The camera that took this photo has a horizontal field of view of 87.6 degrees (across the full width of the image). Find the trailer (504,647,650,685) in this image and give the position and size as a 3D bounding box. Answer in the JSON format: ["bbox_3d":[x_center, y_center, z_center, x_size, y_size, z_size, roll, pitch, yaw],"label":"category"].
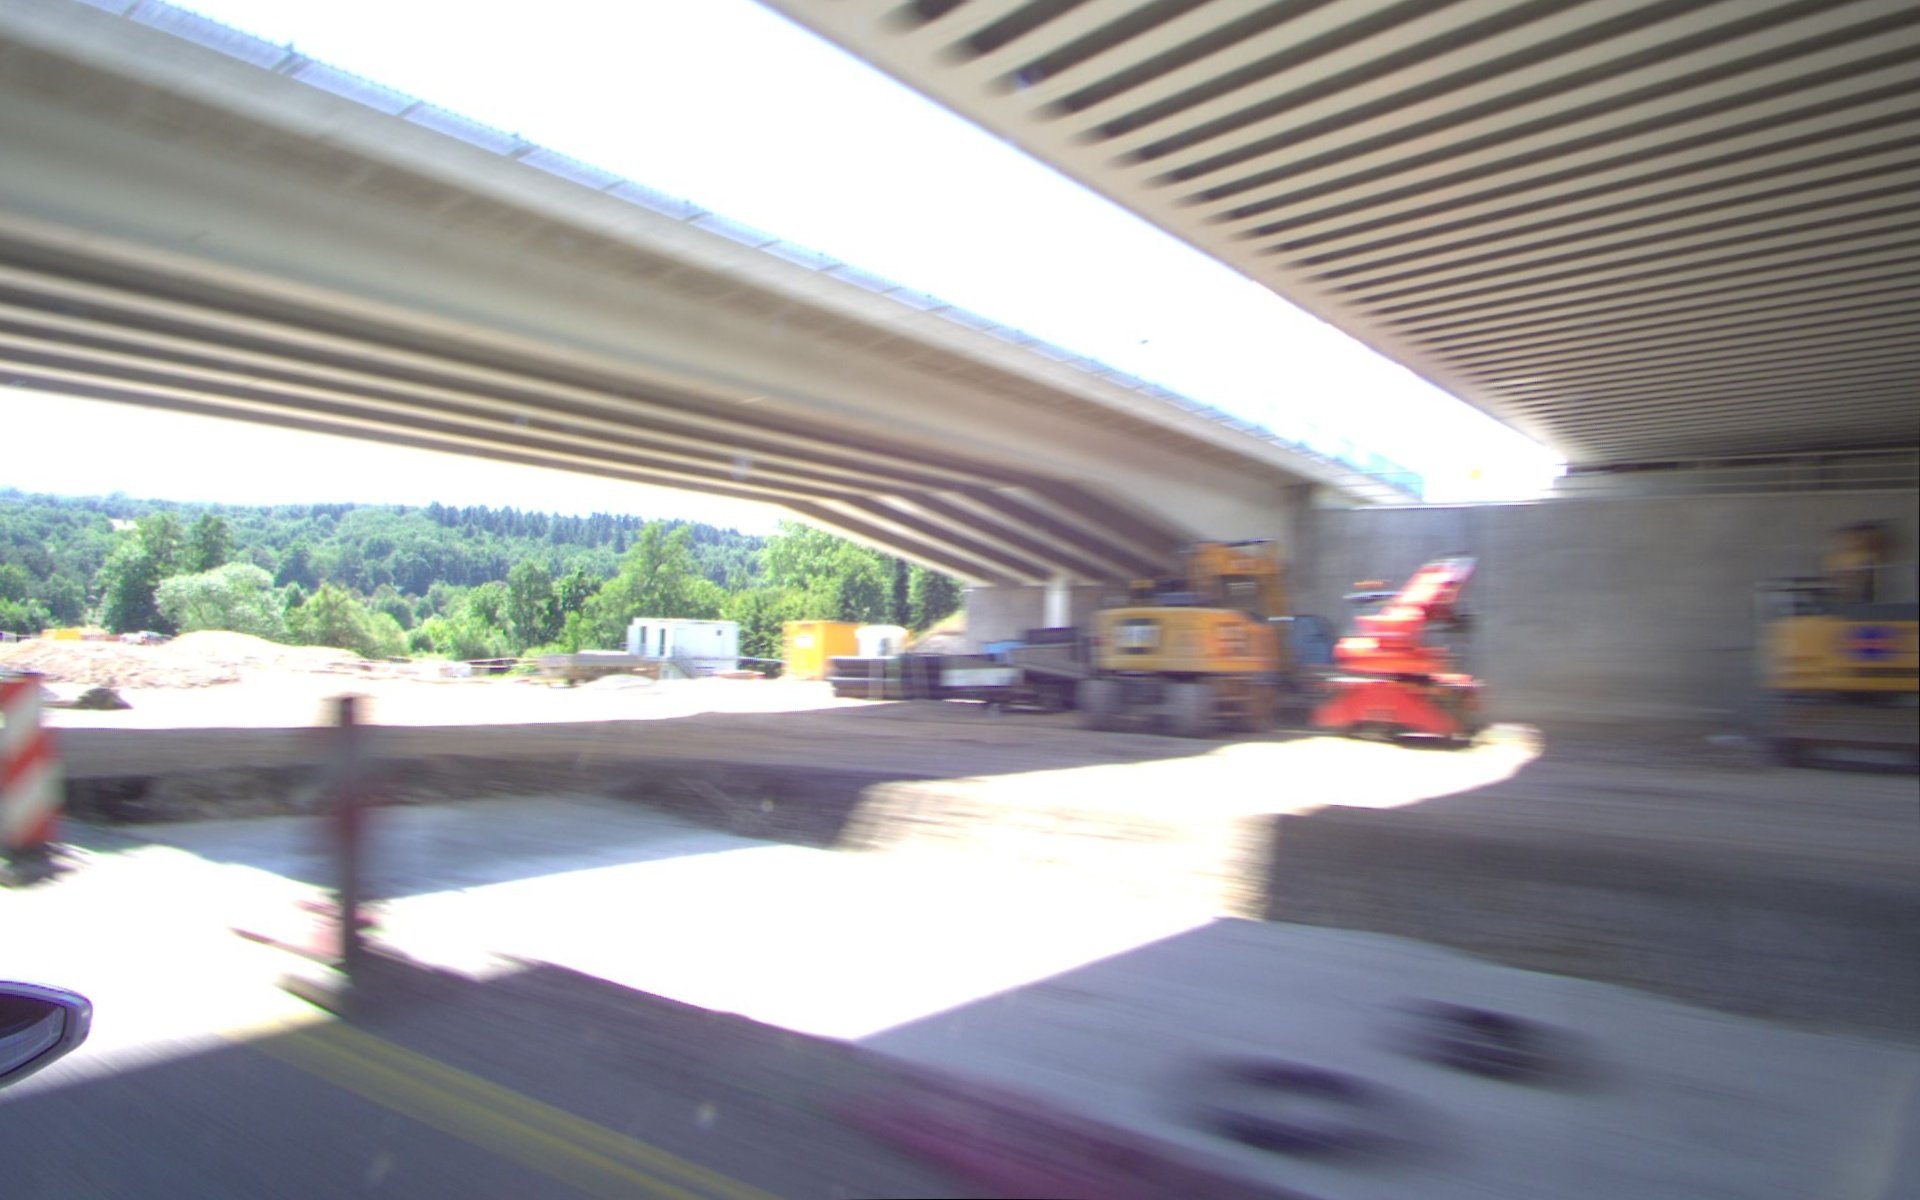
[{"bbox_3d":[-13.740,2.359,36.227,2.026,1.234,4.707,-2,-3,31],"label":"trailer"}]

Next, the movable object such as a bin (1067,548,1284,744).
[{"bbox_3d":[4.515,1.010,20.823,2.873,3.585,3.863,-3,-5,43],"label":"movable object such as a bin"}]

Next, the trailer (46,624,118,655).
[{"bbox_3d":[-46.517,2.091,53.063,3.767,1.504,1.623,0,-3,29],"label":"trailer"}]

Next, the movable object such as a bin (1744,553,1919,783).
[{"bbox_3d":[15.016,1.127,16.535,2.952,3.326,4.543,-2,-4,36],"label":"movable object such as a bin"}]

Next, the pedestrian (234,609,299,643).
[{"bbox_3d":[-44.234,1.696,63.843,3.942,2.039,1.991,-2,-3,31],"label":"pedestrian"}]

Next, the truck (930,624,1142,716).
[{"bbox_3d":[2.208,1.803,26.430,2.629,2.099,6.508,-1,-3,35],"label":"truck"}]

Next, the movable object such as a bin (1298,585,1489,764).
[{"bbox_3d":[8.892,1.494,20.236,2.464,3.093,5.228,-2,-5,35],"label":"movable object such as a bin"}]
